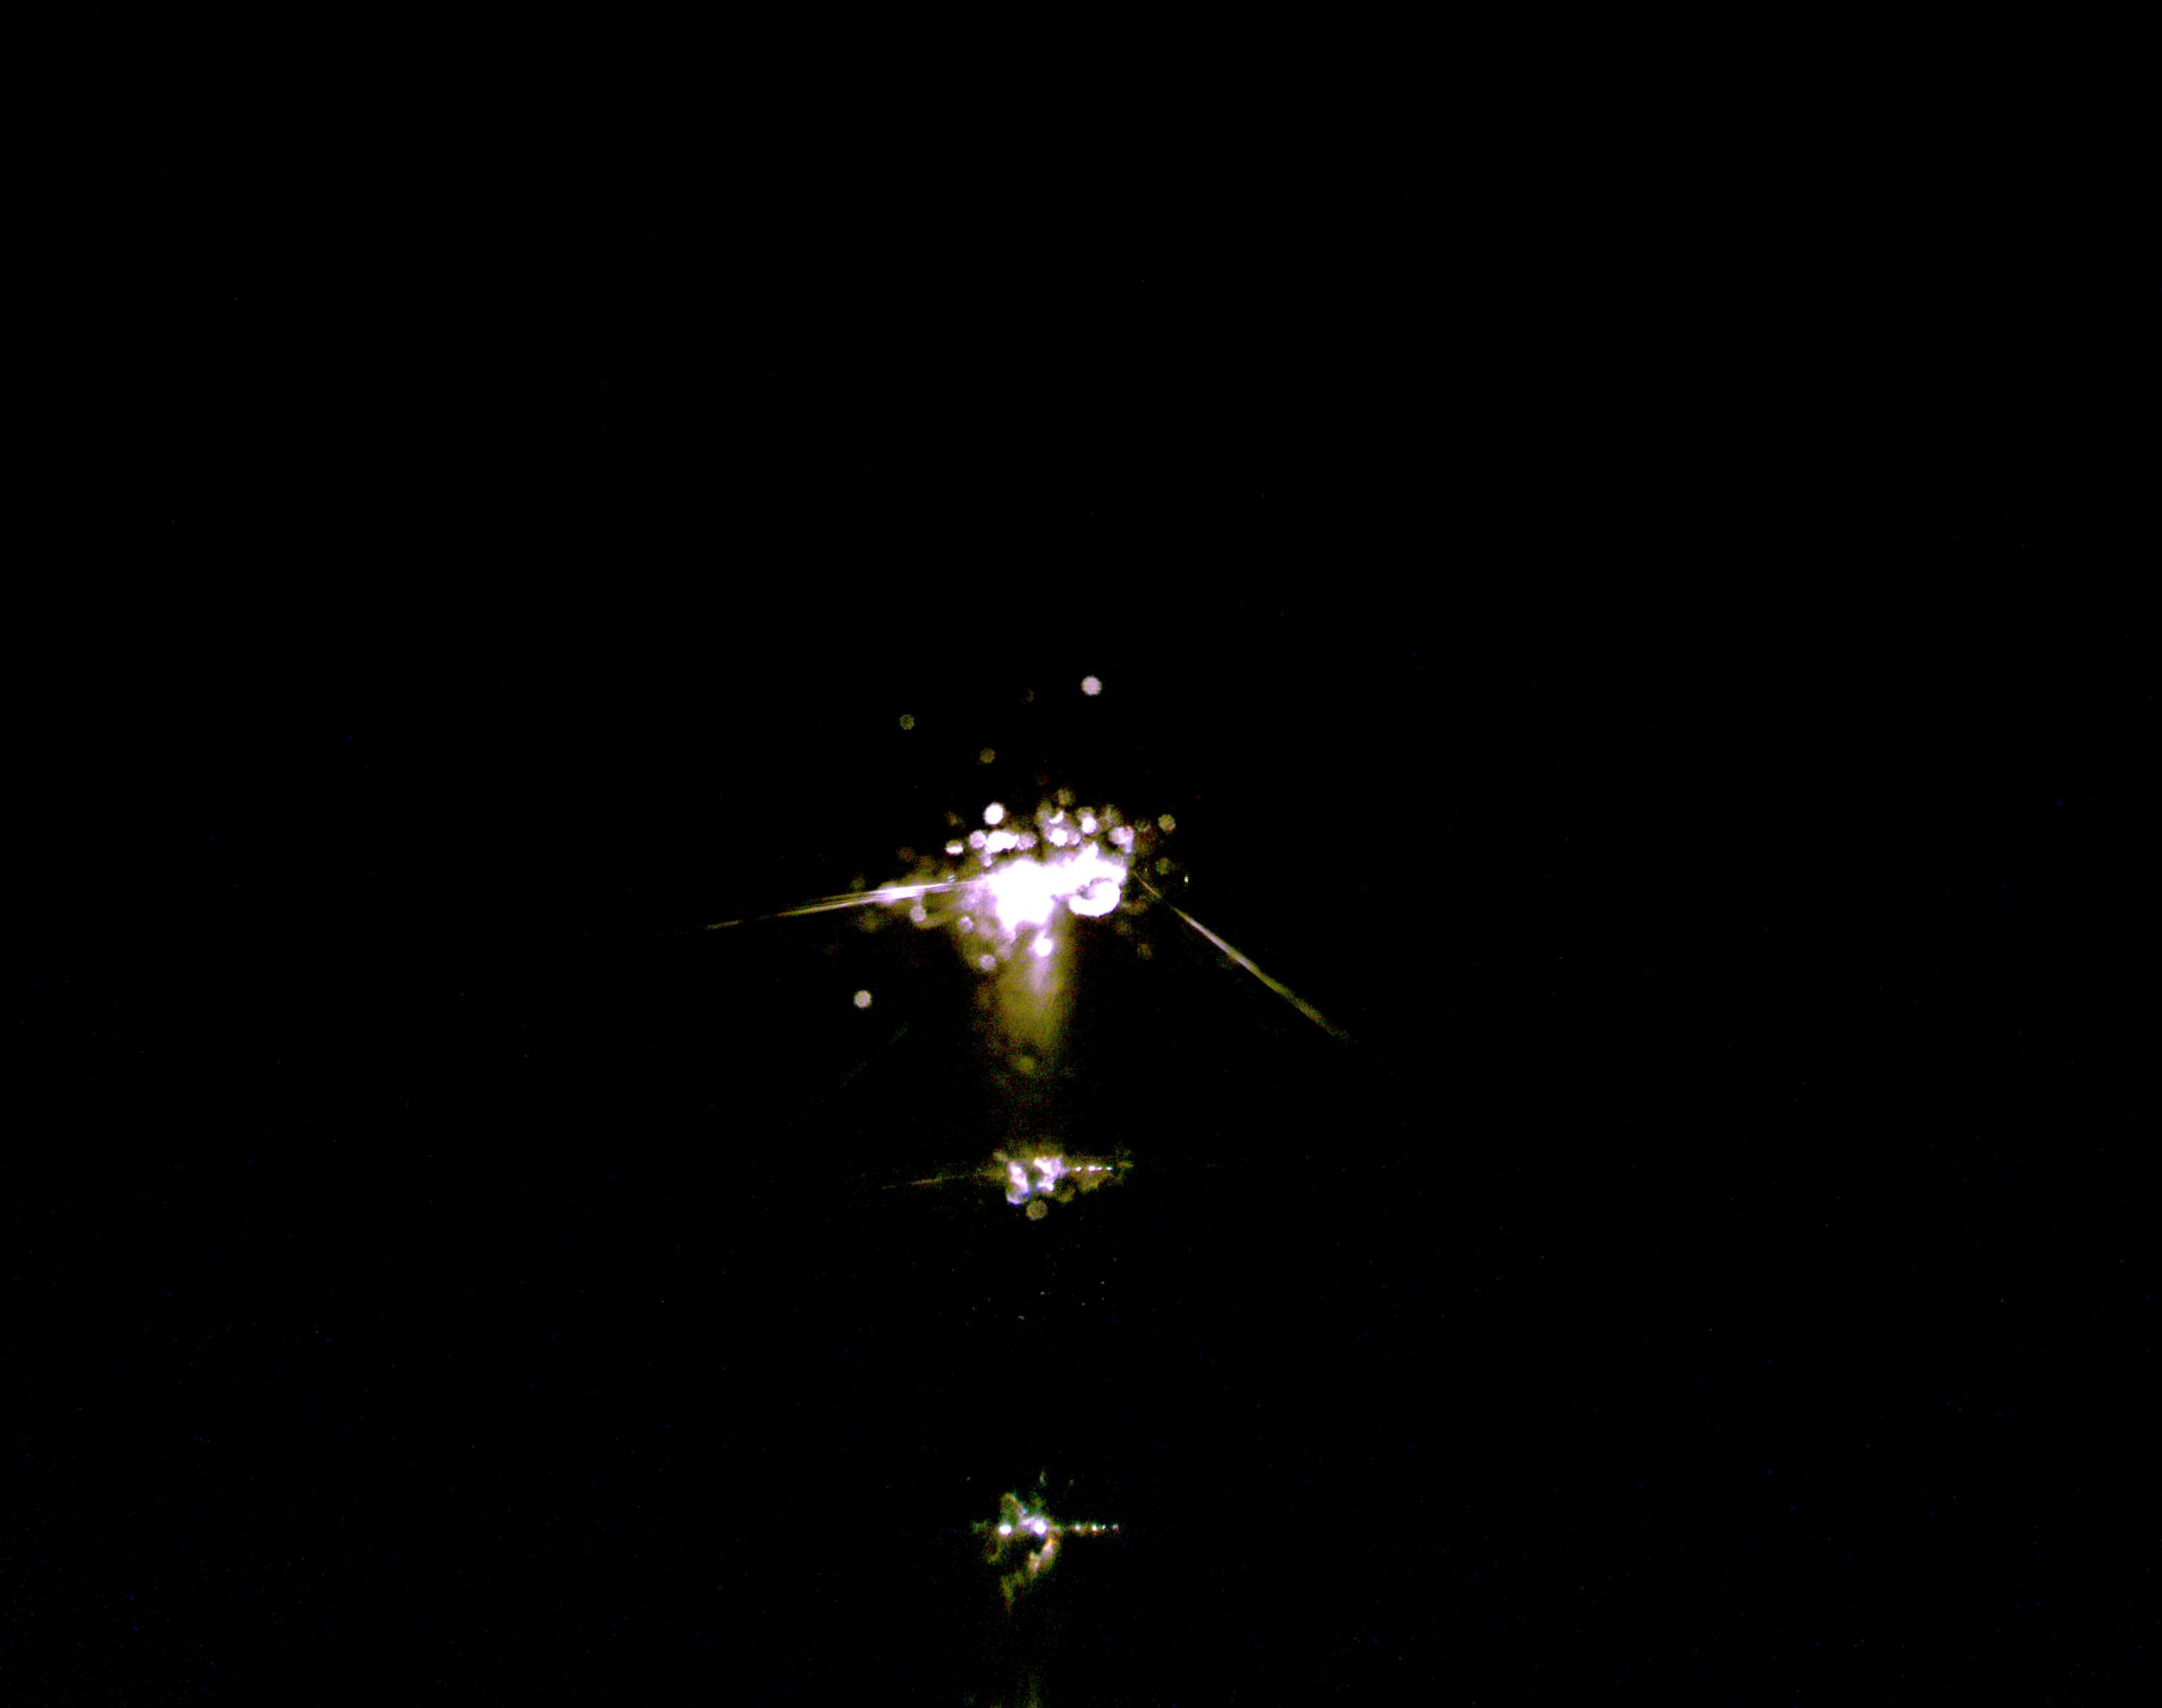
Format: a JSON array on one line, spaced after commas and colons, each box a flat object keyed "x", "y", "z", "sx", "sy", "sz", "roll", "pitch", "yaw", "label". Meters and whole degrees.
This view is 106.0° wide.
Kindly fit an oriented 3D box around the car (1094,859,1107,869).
[{"x": 2.934, "y": 1.509, "z": 124.290, "sx": 1.821, "sy": 1.456, "sz": 3.795, "roll": -4, "pitch": 1, "yaw": 2, "label": "car"}]

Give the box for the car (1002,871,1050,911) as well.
[{"x": -2.403, "y": 1.621, "z": 36.578, "sx": 1.710, "sy": 1.517, "sz": 3.878, "roll": -4, "pitch": 0, "yaw": 1, "label": "car"}]

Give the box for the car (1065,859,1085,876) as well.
[{"x": -0.524, "y": 1.307, "z": 77.874, "sx": 1.710, "sy": 1.471, "sz": 3.709, "roll": -3, "pitch": 0, "yaw": 1, "label": "car"}]
